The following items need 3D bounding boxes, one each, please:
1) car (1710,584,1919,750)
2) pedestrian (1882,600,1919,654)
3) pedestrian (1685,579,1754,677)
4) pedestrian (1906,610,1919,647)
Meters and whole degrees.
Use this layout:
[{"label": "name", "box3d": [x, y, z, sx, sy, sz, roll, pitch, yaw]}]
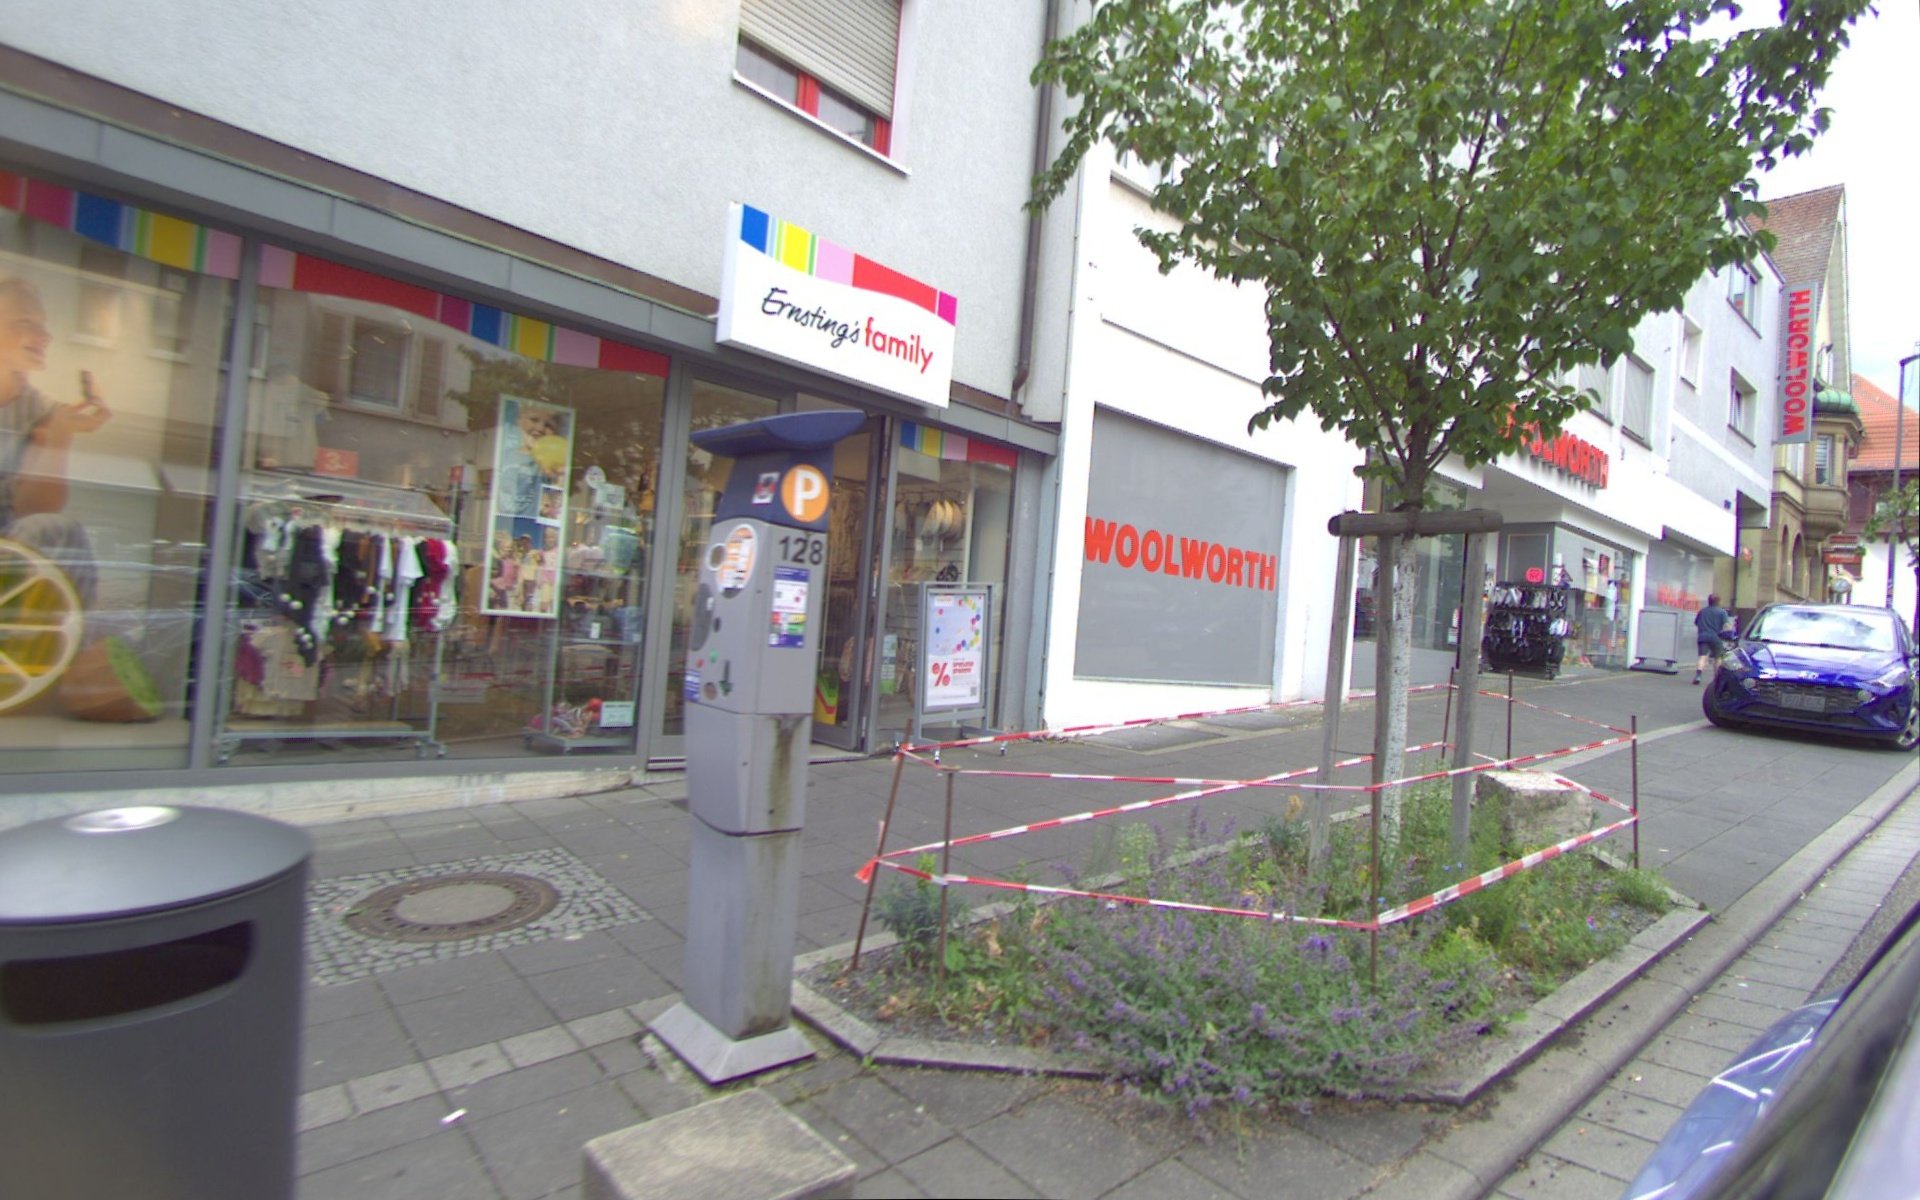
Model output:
[{"label": "car", "box3d": [10.163, 0.635, 11.774, 1.750, 1.515, 3.739, 6, 5, 44]}, {"label": "pedestrian", "box3d": [30.588, 0.868, 32.818, 0.786, 1.687, 0.827, 2, 0, -35]}, {"label": "pedestrian", "box3d": [12.834, 0.458, 17.092, 0.804, 1.580, 0.757, 2, 1, -43]}, {"label": "pedestrian", "box3d": [47.419, 1.423, 50.071, 0.803, 1.791, 0.776, 2, 0, -39]}]
